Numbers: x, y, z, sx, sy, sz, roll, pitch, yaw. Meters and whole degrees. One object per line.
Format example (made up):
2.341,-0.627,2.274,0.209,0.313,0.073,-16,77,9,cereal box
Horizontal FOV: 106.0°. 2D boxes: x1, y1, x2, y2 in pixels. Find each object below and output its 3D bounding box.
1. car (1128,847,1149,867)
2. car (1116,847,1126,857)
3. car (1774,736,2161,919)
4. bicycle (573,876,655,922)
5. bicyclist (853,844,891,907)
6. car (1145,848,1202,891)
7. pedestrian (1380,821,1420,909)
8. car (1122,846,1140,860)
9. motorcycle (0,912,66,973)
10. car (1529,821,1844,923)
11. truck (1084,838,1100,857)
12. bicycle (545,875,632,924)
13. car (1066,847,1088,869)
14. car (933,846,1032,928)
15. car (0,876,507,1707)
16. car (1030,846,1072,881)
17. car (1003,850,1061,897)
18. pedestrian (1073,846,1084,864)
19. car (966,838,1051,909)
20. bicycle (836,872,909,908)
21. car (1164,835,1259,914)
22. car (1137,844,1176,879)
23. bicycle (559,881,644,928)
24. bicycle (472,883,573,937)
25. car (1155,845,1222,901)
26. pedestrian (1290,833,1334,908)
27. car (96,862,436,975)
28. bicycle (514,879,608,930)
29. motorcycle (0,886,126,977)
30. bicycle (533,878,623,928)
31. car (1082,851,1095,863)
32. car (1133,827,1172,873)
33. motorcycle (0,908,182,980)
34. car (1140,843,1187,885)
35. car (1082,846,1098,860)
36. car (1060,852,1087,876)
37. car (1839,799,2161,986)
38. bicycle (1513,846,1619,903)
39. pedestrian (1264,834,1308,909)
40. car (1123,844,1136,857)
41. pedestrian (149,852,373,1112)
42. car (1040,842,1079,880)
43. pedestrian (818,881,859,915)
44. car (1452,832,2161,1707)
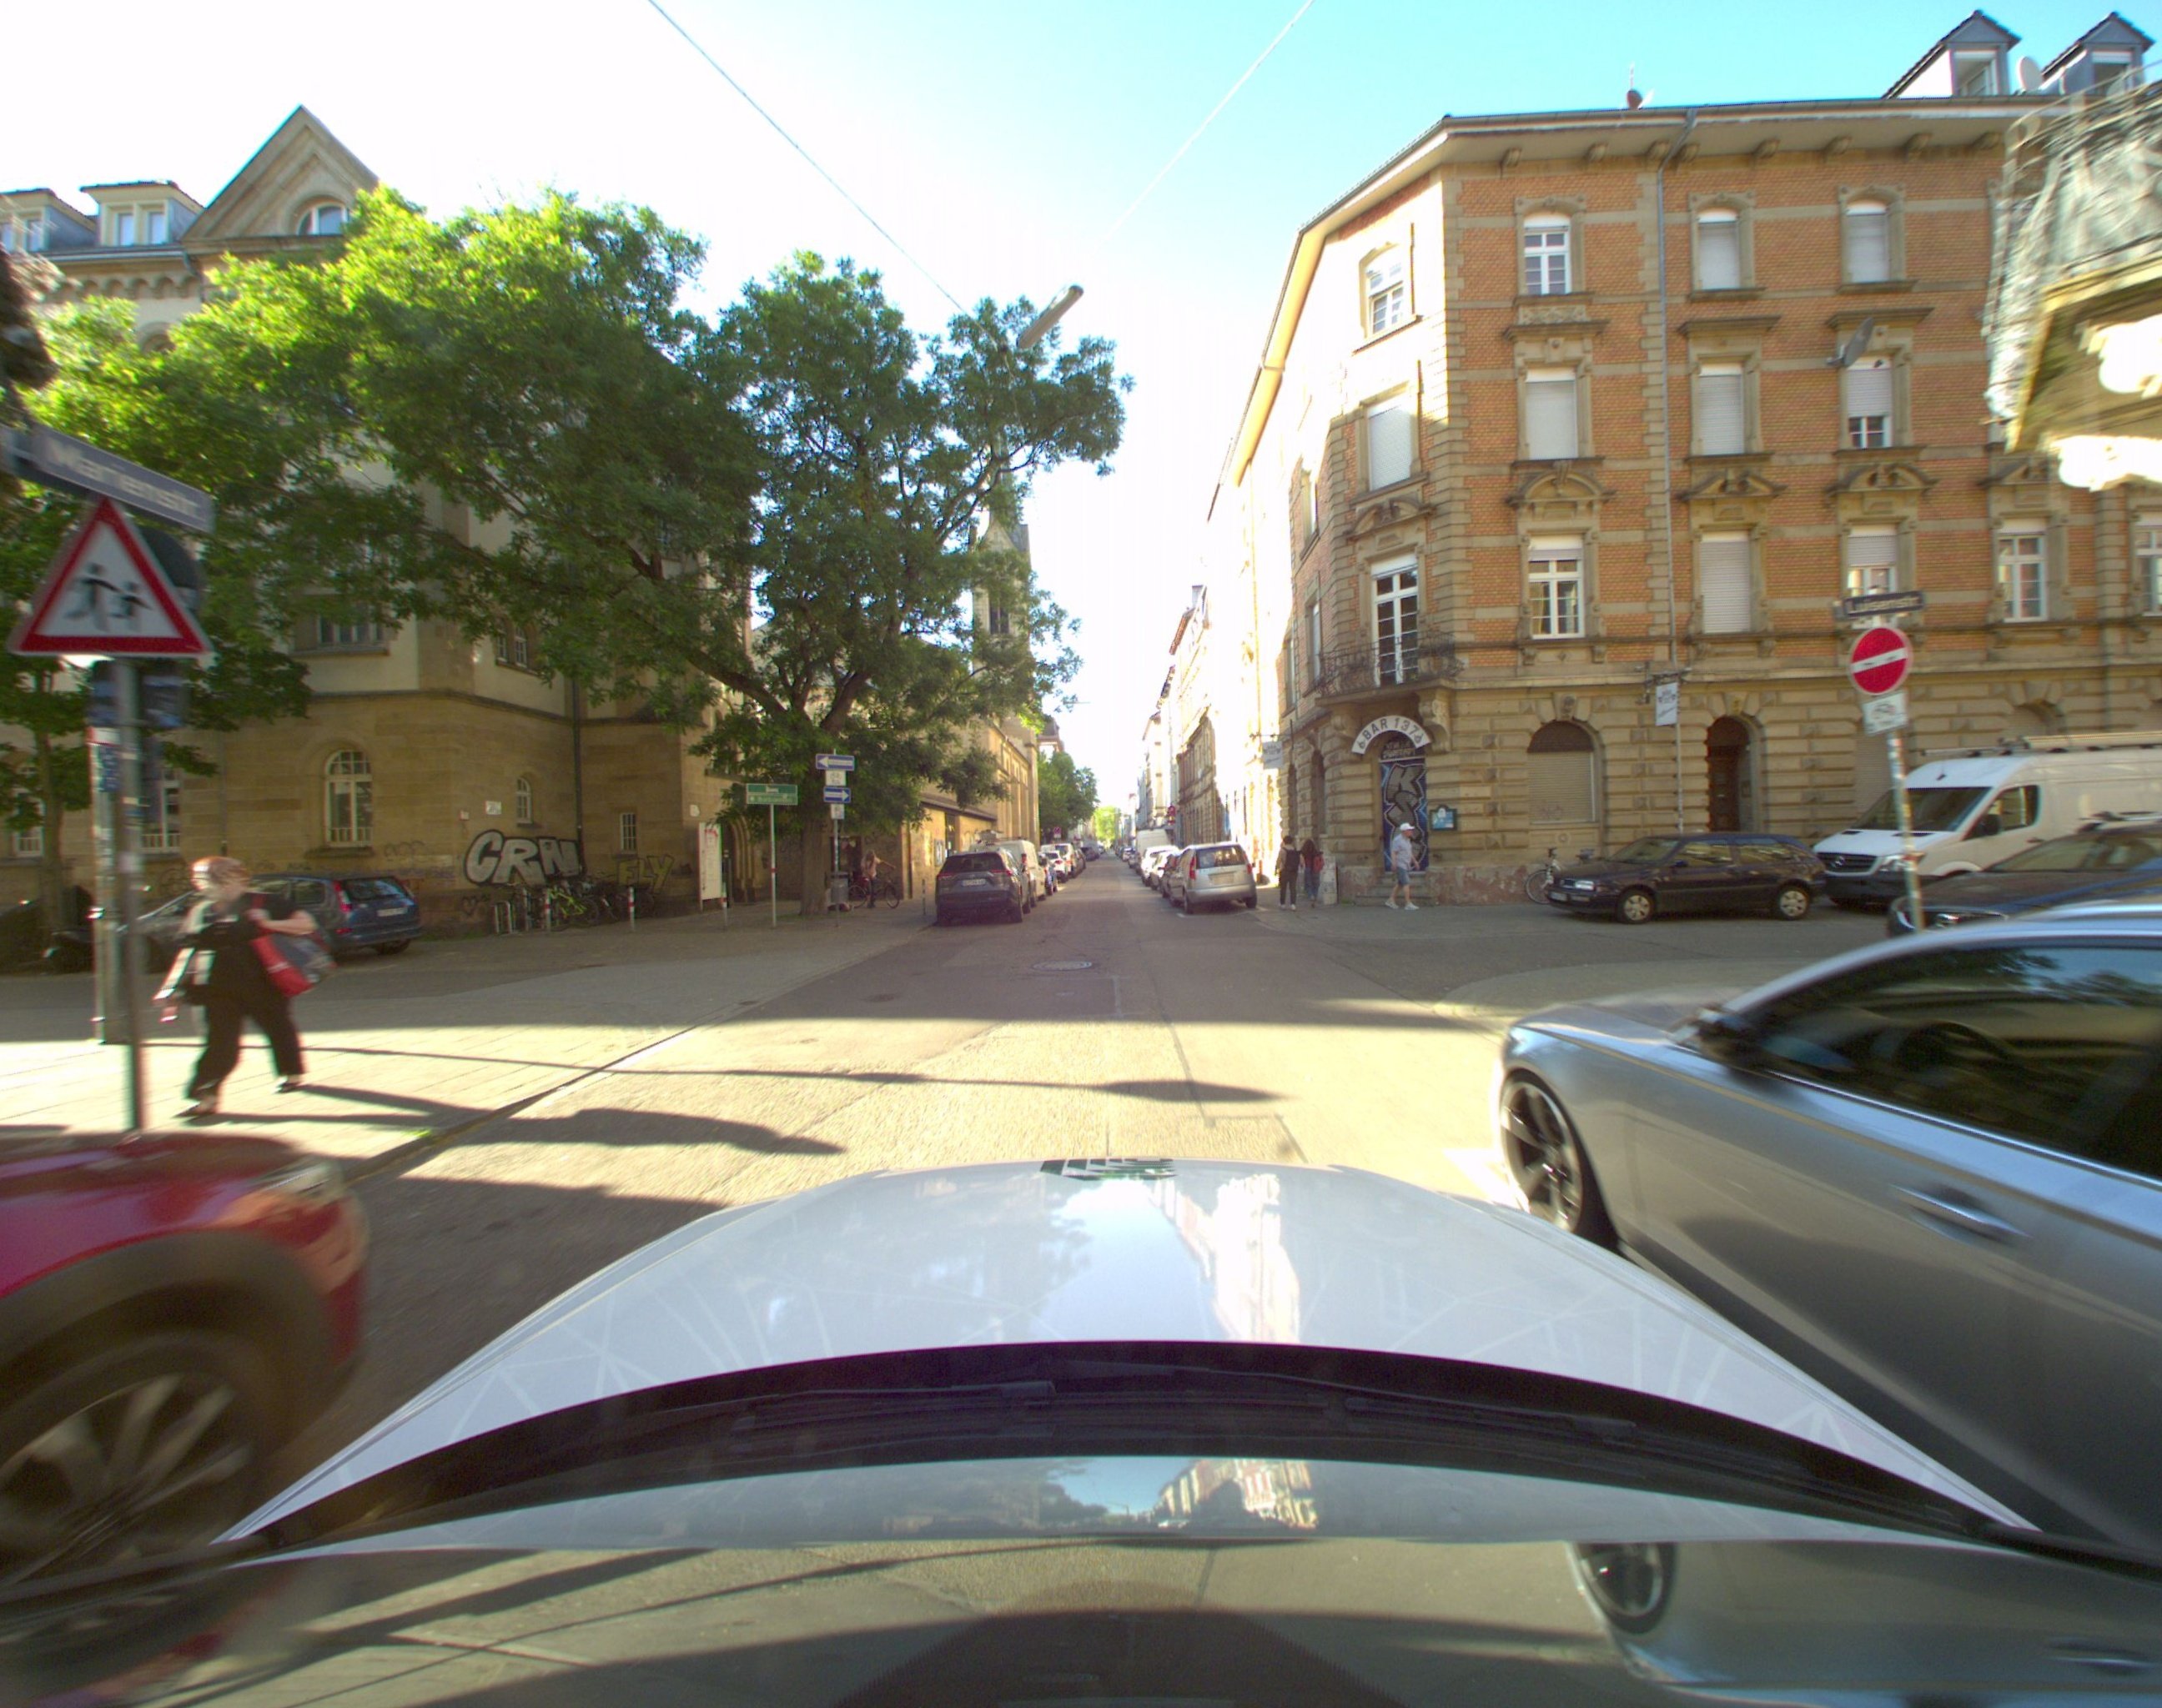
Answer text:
4.631,0.224,65.630,1.597,1.504,4.004,-1,0,3,car
8.363,-0.417,170.676,1.986,2.013,4.003,-2,0,2,car
15.903,-0.505,13.642,6.783,2.650,2.068,-3,3,1,car
-11.867,1.136,20.727,1.769,1.054,0.478,-3,1,1,bicycle
-5.832,0.581,22.729,0.800,1.723,0.694,0,1,10,bicyclist
3.417,0.526,30.659,1.568,1.525,3.905,0,0,-2,car
6.561,0.218,16.736,0.656,1.732,0.579,-3,1,21,pedestrian
5.774,-0.102,94.463,1.890,1.488,3.872,-2,0,2,car
-19.147,1.588,14.015,0.657,0.991,2.105,-2,0,1,motorcycle
10.047,0.276,13.757,3.964,1.452,1.735,-2,1,2,car
1.924,-1.161,144.743,2.522,3.281,6.999,-2,0,2,truck
-11.871,1.093,19.644,1.769,1.054,0.478,-3,1,1,bicycle
-0.321,0.323,67.044,1.594,1.614,3.809,-5,0,1,car
-2.191,0.670,19.200,1.735,1.646,4.288,-3,0,0,car
-2.638,0.835,0.365,1.716,1.481,4.092,-1,0,2,car
-1.450,0.428,40.216,1.735,1.586,3.871,-2,0,2,car
-1.739,0.651,29.866,1.681,1.476,3.862,-4,0,2,car
-0.290,0.110,89.987,0.775,1.843,1.018,-1,0,36,pedestrian
-2.055,0.496,24.448,1.838,1.862,4.469,-3,1,3,car
-5.809,0.993,22.730,1.750,0.923,0.829,0,1,10,bicycle
3.194,0.457,20.588,1.698,1.714,3.938,-3,0,0,car
3.783,0.336,41.418,1.681,1.642,3.926,-2,0,2,car
-11.859,1.244,20.170,1.769,1.054,0.478,-3,1,1,bicycle
-12.079,1.200,17.626,1.769,1.054,0.534,-3,1,1,bicycle
3.240,0.519,25.189,1.530,1.513,3.681,-3,0,0,car
5.197,0.355,18.350,0.574,1.621,0.731,-4,1,-12,pedestrian
-13.848,1.050,14.018,3.972,1.598,1.771,-2,2,1,car
-11.976,1.165,18.770,1.769,1.054,0.534,-3,1,1,bicycle
-18.220,1.326,14.169,0.657,1.420,2.105,-2,0,1,motorcycle
-11.846,1.145,19.206,1.769,1.054,0.478,-3,1,1,bicycle
1.122,0.415,128.036,1.870,1.796,3.998,-2,0,-1,car
4.306,-0.261,49.871,2.060,2.610,5.891,-2,1,2,car
-17.013,1.507,14.059,0.567,0.975,2.105,-2,0,1,motorcycle
3.498,0.393,35.204,1.800,1.689,4.217,-1,0,3,car
1.145,-0.163,106.654,1.868,1.796,4.003,-2,0,2,car
-0.491,0.680,57.366,1.667,1.558,4.001,-3,0,1,car
10.030,0.236,7.707,4.233,1.470,1.766,-3,0,-5,car
9.758,0.403,16.420,1.769,1.054,0.534,-3,0,1,bicycle
4.564,0.378,18.168,0.591,1.603,0.724,-4,1,-13,pedestrian
6.792,-0.452,114.901,1.762,1.741,4.003,-2,1,2,car
-5.364,0.785,5.382,0.664,1.580,0.760,-1,0,1,pedestrian
-1.166,0.354,46.100,1.857,1.957,4.612,-4,0,1,car
-6.198,1.110,20.816,0.919,0.778,0.697,-3,0,-22,pedestrian
2.533,0.683,1.600,1.699,1.459,4.514,-1,0,2,car
